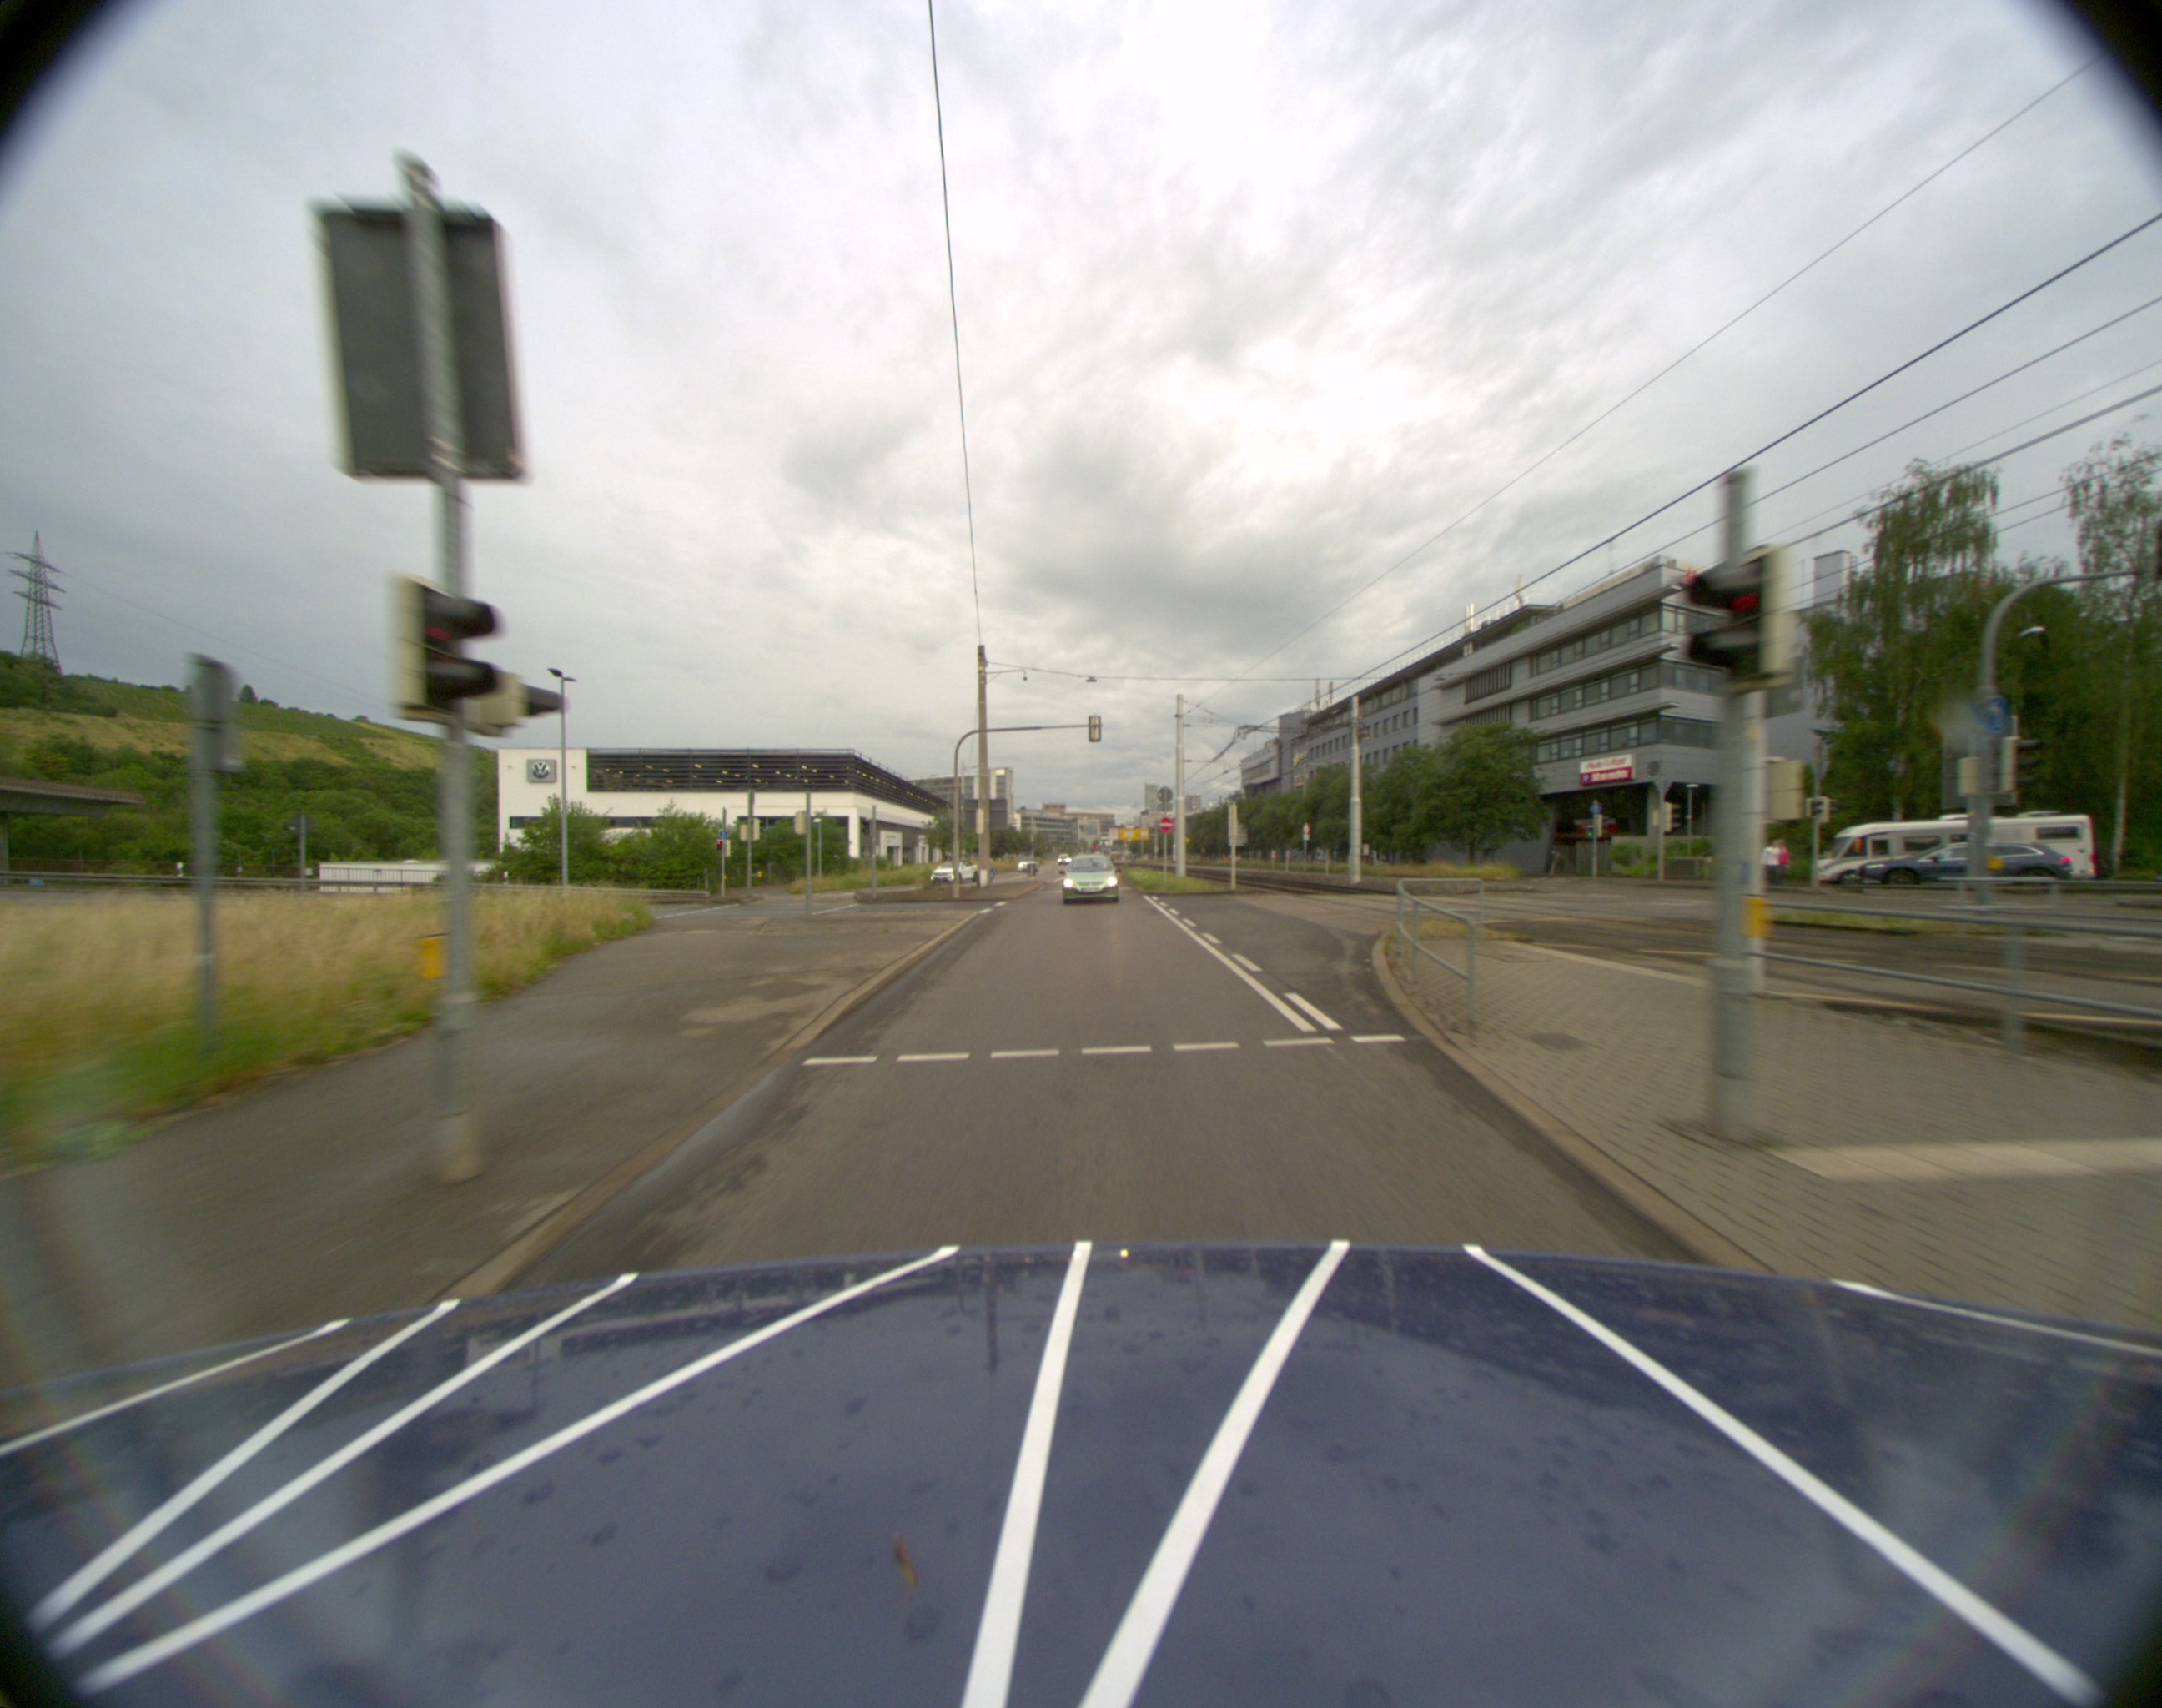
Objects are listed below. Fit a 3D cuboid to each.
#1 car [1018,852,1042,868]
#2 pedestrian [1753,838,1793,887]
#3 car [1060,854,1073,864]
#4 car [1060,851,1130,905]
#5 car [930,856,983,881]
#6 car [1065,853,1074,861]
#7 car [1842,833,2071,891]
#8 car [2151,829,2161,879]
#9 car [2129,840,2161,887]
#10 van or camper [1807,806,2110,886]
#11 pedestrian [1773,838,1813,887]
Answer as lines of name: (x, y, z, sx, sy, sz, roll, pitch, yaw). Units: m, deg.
car: (-5.016, 0.572, 75.167, 1.993, 1.531, 4.109, -1, 1, 1)
pedestrian: (25.768, 0.323, 28.302, 0.748, 1.775, 0.813, 0, 0, 0)
car: (-2.320, 0.735, 122.375, 1.993, 1.531, 4.109, -1, 1, -1)
car: (0.542, 0.693, 24.537, 1.779, 1.493, 4.002, 1, 2, 8)
car: (-8.336, 0.959, 51.210, 2.037, 1.531, 4.113, -1, 1, 14)
car: (-2.251, 0.576, 145.750, 1.702, 1.429, 3.965, -1, 0, -1)
car: (31.935, 0.317, 27.992, 5.157, 1.869, 2.003, -2, 1, 33)
car: (42.200, -0.048, 27.055, 4.325, 1.869, 2.003, -2, 1, 23)
car: (38.033, 0.263, 24.622, 4.324, 1.499, 2.003, -2, 1, 27)
van or camper: (35.284, -0.262, 31.059, 7.743, 2.867, 2.304, -2, 1, 33)
pedestrian: (26.531, 0.309, 28.316, 0.748, 1.775, 0.813, 0, 0, 0)
